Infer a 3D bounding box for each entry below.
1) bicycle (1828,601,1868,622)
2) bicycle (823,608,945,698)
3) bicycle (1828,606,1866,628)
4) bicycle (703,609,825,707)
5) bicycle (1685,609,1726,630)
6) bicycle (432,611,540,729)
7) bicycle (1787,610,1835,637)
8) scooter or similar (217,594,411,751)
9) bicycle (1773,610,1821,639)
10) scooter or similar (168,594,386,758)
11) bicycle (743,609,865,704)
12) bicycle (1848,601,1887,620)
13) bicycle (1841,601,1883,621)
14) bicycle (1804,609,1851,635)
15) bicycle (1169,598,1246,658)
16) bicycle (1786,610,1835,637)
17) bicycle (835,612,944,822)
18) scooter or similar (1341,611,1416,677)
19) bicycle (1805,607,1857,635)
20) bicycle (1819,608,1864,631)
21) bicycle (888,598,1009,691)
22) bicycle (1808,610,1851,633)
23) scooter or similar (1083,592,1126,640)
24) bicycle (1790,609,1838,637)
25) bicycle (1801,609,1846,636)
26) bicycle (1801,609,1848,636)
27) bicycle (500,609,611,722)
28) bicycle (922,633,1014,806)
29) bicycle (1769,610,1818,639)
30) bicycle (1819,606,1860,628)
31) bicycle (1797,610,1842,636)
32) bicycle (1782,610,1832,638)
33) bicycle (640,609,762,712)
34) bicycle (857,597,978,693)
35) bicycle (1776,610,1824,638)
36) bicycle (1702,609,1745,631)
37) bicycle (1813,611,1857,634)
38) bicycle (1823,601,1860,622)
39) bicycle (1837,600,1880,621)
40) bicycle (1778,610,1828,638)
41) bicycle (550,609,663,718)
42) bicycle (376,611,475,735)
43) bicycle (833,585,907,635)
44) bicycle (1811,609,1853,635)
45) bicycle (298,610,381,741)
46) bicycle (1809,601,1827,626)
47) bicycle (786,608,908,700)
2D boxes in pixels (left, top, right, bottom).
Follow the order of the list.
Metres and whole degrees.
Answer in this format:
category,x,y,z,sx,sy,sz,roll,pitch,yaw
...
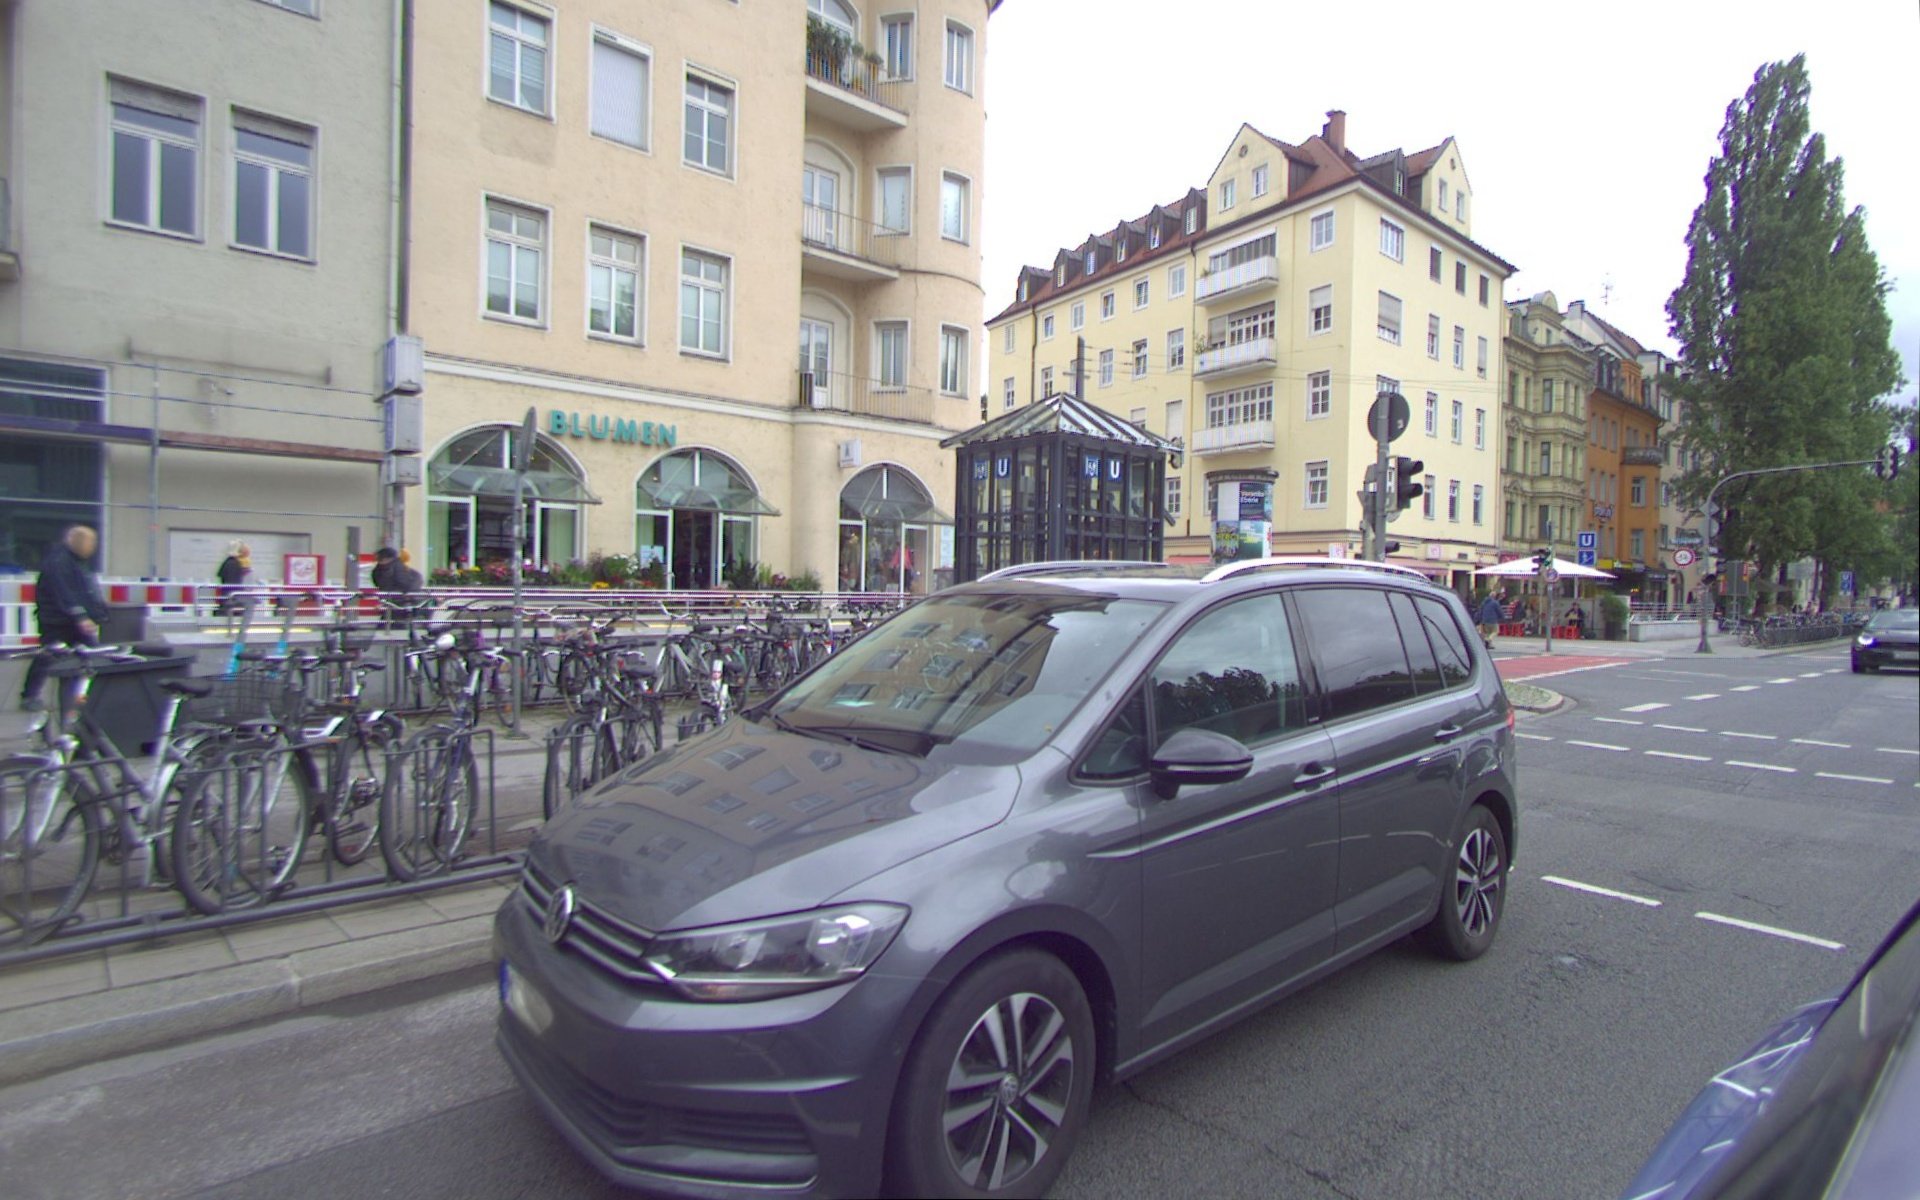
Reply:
category,x,y,z,sx,sy,sz,roll,pitch,yaw
bicycle,42.827,0.548,48.829,0.319,1.008,1.841,2,0,1
bicycle,-0.992,0.631,12.751,0.500,0.976,1.840,1,1,-42
bicycle,42.123,0.789,48.089,0.319,1.008,1.839,1,-1,5
bicycle,-2.302,0.627,11.736,0.500,0.976,1.840,1,1,-42
bicycle,39.090,1.021,53.058,0.379,1.059,1.730,2,-1,-30
bicycle,-4.629,0.628,9.816,0.445,0.976,1.757,1,1,-42
bicycle,34.880,0.939,41.501,0.341,1.008,1.843,1,2,-2
scooter or similar,-5.089,0.569,8.009,1.251,1.190,0.302,1,1,-11
bicycle,32.362,0.929,39.157,0.341,1.008,1.842,1,2,2
scooter or similar,-5.140,0.569,7.662,1.319,1.190,0.365,1,1,-11
bicycle,-1.893,0.628,12.062,0.500,0.976,1.840,1,1,-42
bicycle,47.474,0.544,52.962,0.368,1.008,1.841,2,0,0
bicycle,45.603,0.538,51.177,0.368,1.008,1.843,2,0,-4
bicycle,37.443,0.950,43.701,0.341,1.008,1.843,1,2,-2
bicycle,5.303,0.596,21.763,0.515,1.174,1.573,3,1,-38
bicycle,34.351,0.936,40.898,0.341,1.008,1.843,1,2,-2
bicycle,-0.444,0.720,7.059,0.549,1.213,1.804,1,1,2
scooter or similar,7.387,0.749,17.855,1.235,1.088,0.776,0,1,-43
bicycle,38.471,0.913,44.732,0.457,1.126,1.845,2,1,-9
bicycle,40.311,0.866,46.304,0.319,1.008,1.843,2,0,-5
bicycle,-0.185,0.554,13.559,0.500,1.108,1.840,1,1,-42
bicycle,38.927,0.958,45.337,0.319,1.008,1.842,2,0,-1
scooter or similar,3.224,0.352,22.636,0.581,1.007,0.824,4,-1,-19
bicycle,35.358,0.941,41.932,0.341,1.008,1.843,1,2,-2
bicycle,36.481,0.946,42.779,0.341,1.008,1.841,1,2,2
bicycle,36.940,0.949,43.284,0.341,1.008,1.843,1,2,-2
bicycle,-4.110,0.615,10.210,0.445,0.976,1.757,1,1,-42
bicycle,0.091,0.806,7.429,0.491,1.041,1.599,1,1,6
bicycle,31.845,0.927,38.678,0.341,1.008,1.842,1,2,2
bicycle,41.237,0.788,47.469,0.319,1.008,1.841,2,0,1
bicycle,35.937,0.945,42.330,0.341,1.008,1.841,1,2,2
bicycle,33.850,0.934,40.467,0.341,1.008,1.843,1,2,-2
bicycle,-2.890,0.625,11.175,0.500,0.976,1.840,1,1,-42
bicycle,-0.587,0.552,13.172,0.500,1.108,1.840,1,1,-42
bicycle,32.850,0.930,39.593,0.341,1.008,1.842,1,2,2
bicycle,39.059,1.012,51.798,1.722,1.059,0.381,1,-1,43
bicycle,39.422,0.988,45.627,0.319,1.008,1.842,2,0,-1
bicycle,42.470,0.550,48.784,0.319,1.008,1.839,1,-1,6
bicycle,45.018,0.536,50.731,0.368,1.008,1.843,2,0,-4
bicycle,33.349,0.932,40.047,0.341,1.008,1.843,1,2,-2
bicycle,-3.691,0.616,10.483,0.445,0.976,1.757,1,1,-42
bicycle,-4.980,0.626,9.380,0.445,0.976,1.758,1,1,-40
bicycle,-2.056,0.221,23.288,0.494,1.103,1.837,2,1,43
bicycle,38.039,0.952,44.175,0.319,1.008,1.841,2,1,3
bicycle,-5.513,0.618,8.956,0.363,0.976,1.758,1,1,-40
bicycle,45.565,0.690,53.751,1.747,1.304,0.424,0,1,-41
bicycle,-1.427,0.630,12.455,0.500,0.976,1.840,1,1,-42
